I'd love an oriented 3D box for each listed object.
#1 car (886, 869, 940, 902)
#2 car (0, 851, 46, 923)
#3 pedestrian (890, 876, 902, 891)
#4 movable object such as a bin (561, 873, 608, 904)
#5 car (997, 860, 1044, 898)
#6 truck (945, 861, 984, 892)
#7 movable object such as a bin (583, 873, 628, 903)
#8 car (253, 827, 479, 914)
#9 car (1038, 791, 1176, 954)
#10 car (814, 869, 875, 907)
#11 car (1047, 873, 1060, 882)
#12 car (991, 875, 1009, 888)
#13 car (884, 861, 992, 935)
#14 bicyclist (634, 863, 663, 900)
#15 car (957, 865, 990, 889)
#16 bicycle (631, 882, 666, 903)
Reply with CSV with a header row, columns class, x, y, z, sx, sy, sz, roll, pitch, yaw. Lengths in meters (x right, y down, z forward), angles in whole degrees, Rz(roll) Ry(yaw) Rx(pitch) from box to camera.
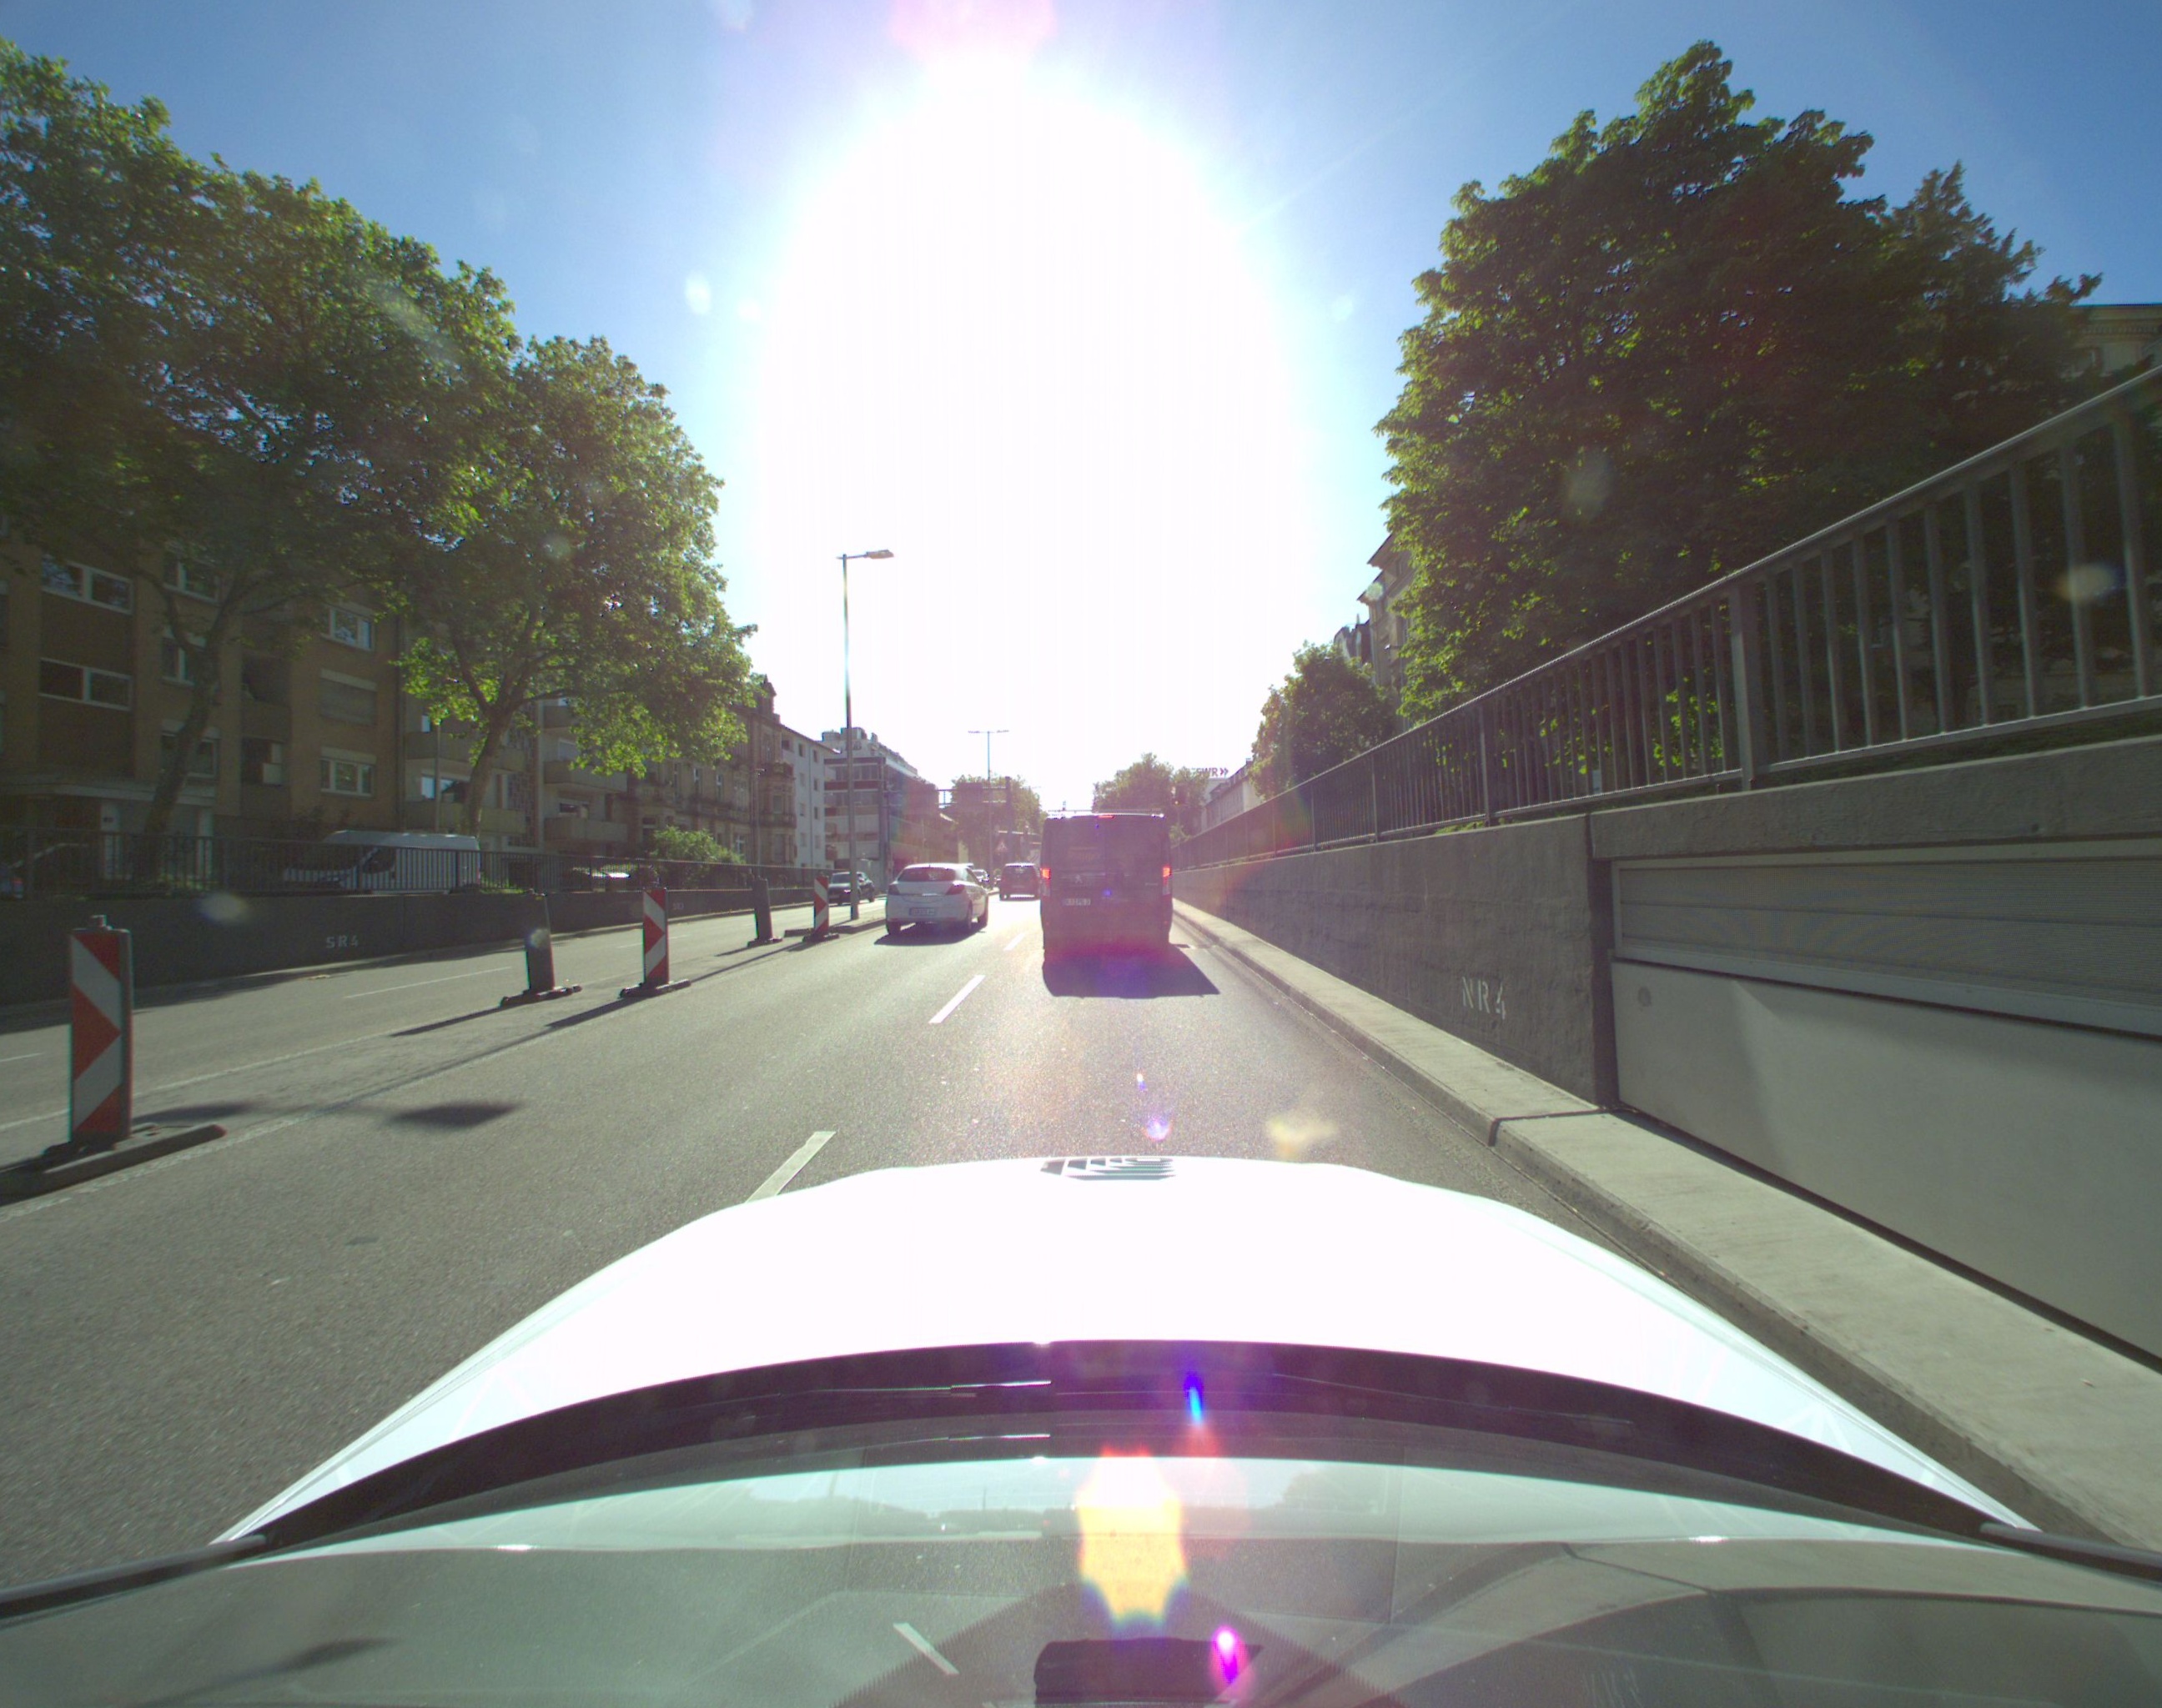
class,x,y,z,sx,sy,sz,roll,pitch,yaw
car,-7.747,1.416,37.855,1.533,1.300,3.928,-4,-1,0
car,-21.942,0.619,14.345,1.986,1.389,4.172,0,-1,1
pedestrian,-23.132,3.698,101.797,1.328,1.931,1.026,0,-2,1
movable object such as a bin,-22.621,1.564,37.120,1.274,1.402,1.301,0,-2,1
car,-2.502,1.023,34.161,1.683,1.483,3.318,0,0,0
truck,-10.124,1.978,71.225,2.220,2.528,6.131,-3,-2,2
movable object such as a bin,-22.447,1.593,38.488,1.274,1.402,1.325,0,-2,1
car,-21.630,0.508,25.079,1.986,2.359,5.421,0,-1,2
car,0.429,0.320,14.193,2.023,2.403,3.973,-1,-1,1
car,-10.566,1.475,36.691,1.534,1.465,3.717,-4,-1,0
car,-4.825,4.197,143.543,1.929,1.555,3.924,0,-1,1
car,-9.342,3.167,94.015,1.586,1.445,3.495,-4,-1,0
car,-2.997,0.875,17.792,1.613,1.403,3.852,0,0,1
bicyclist,-19.414,1.231,36.588,0.773,1.633,1.022,0,-2,-2
car,-7.285,1.560,55.379,1.604,1.457,3.608,-5,-1,0
bicycle,-19.410,1.712,36.576,0.654,0.927,1.757,0,-1,-2
